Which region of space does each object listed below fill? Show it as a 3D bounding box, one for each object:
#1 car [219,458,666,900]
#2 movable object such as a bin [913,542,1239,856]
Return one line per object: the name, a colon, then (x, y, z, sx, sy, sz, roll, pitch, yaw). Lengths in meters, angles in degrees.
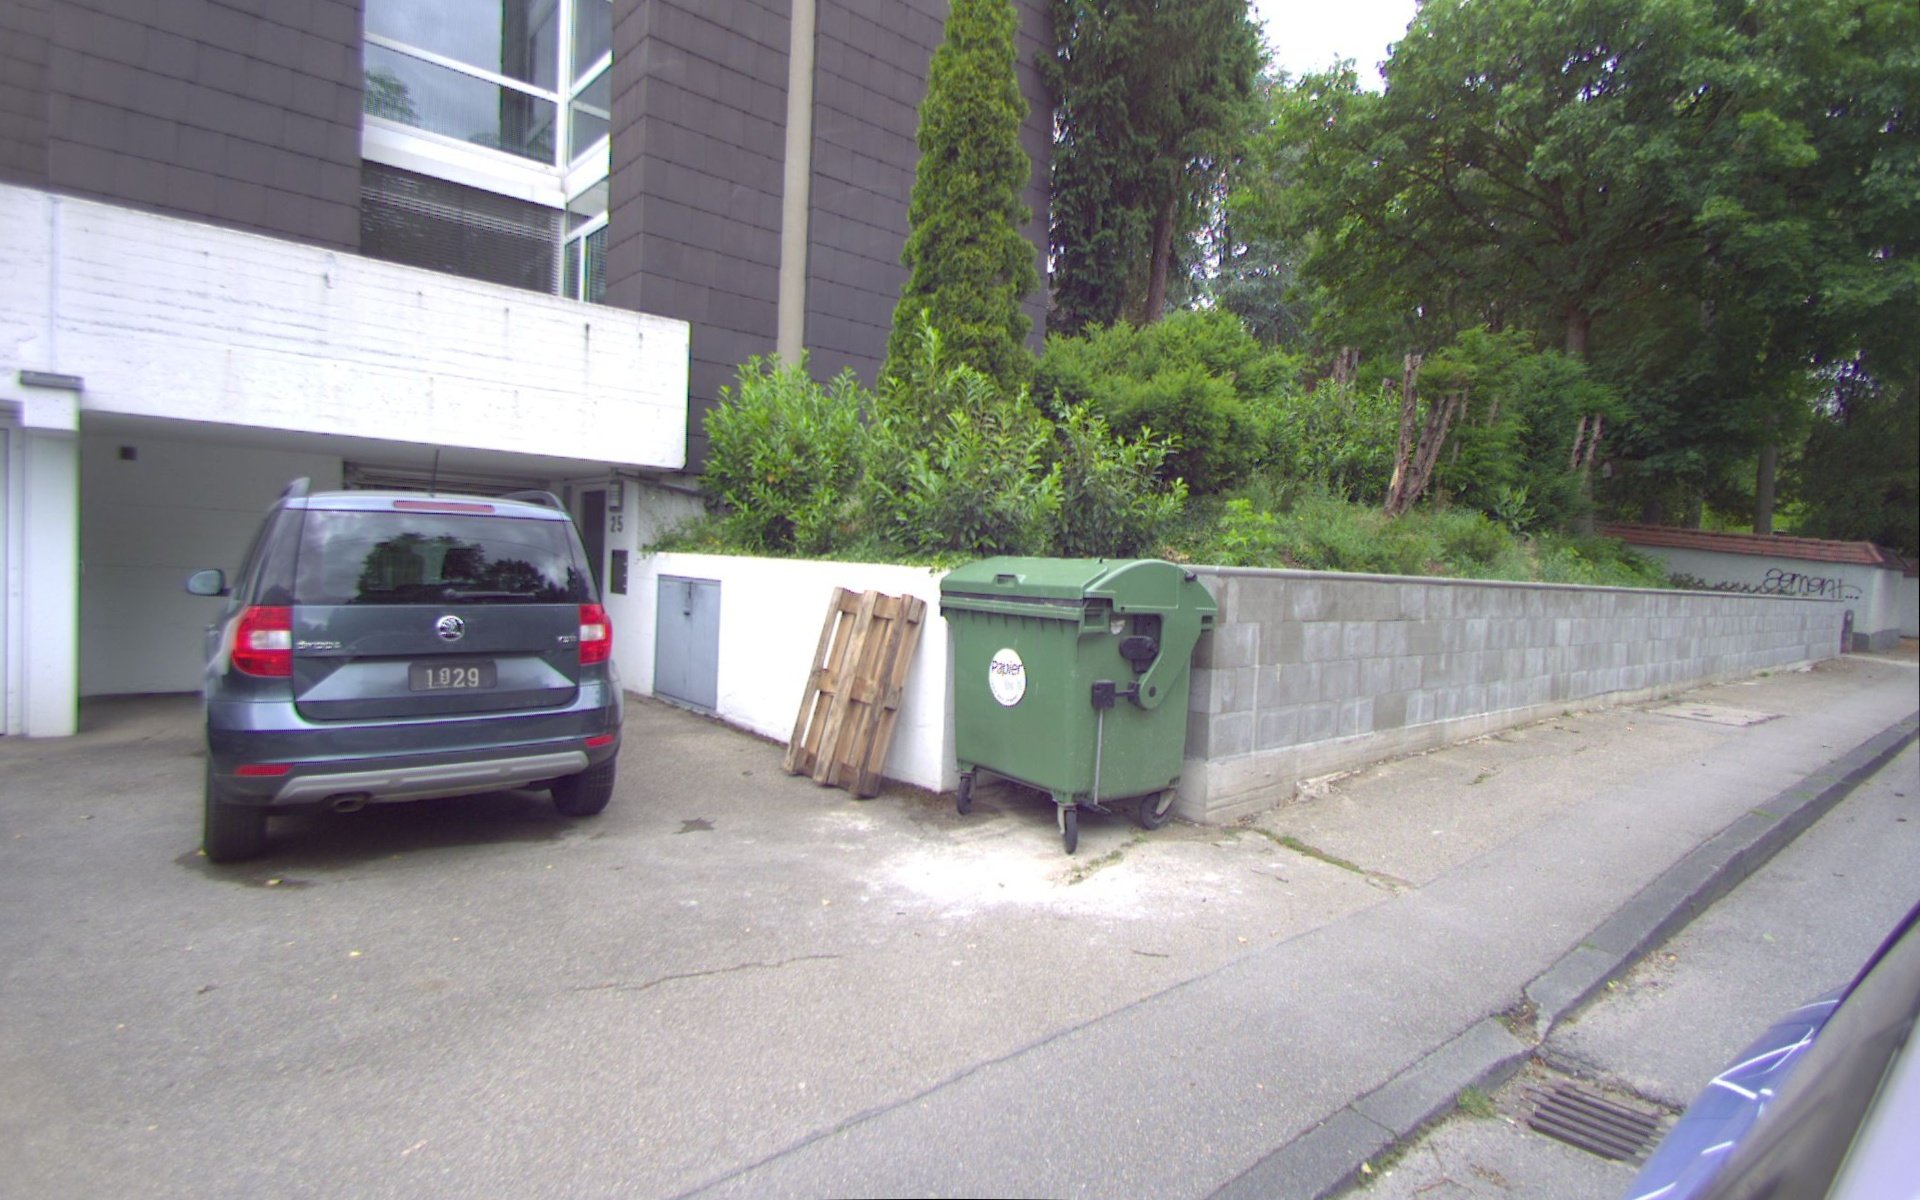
car: (-3.255, 0.183, 5.897, 1.712, 1.671, 3.914, 0, 3, -36)
movable object such as a bin: (0.610, 0.429, 5.615, 1.096, 1.469, 1.407, 0, 3, -40)
